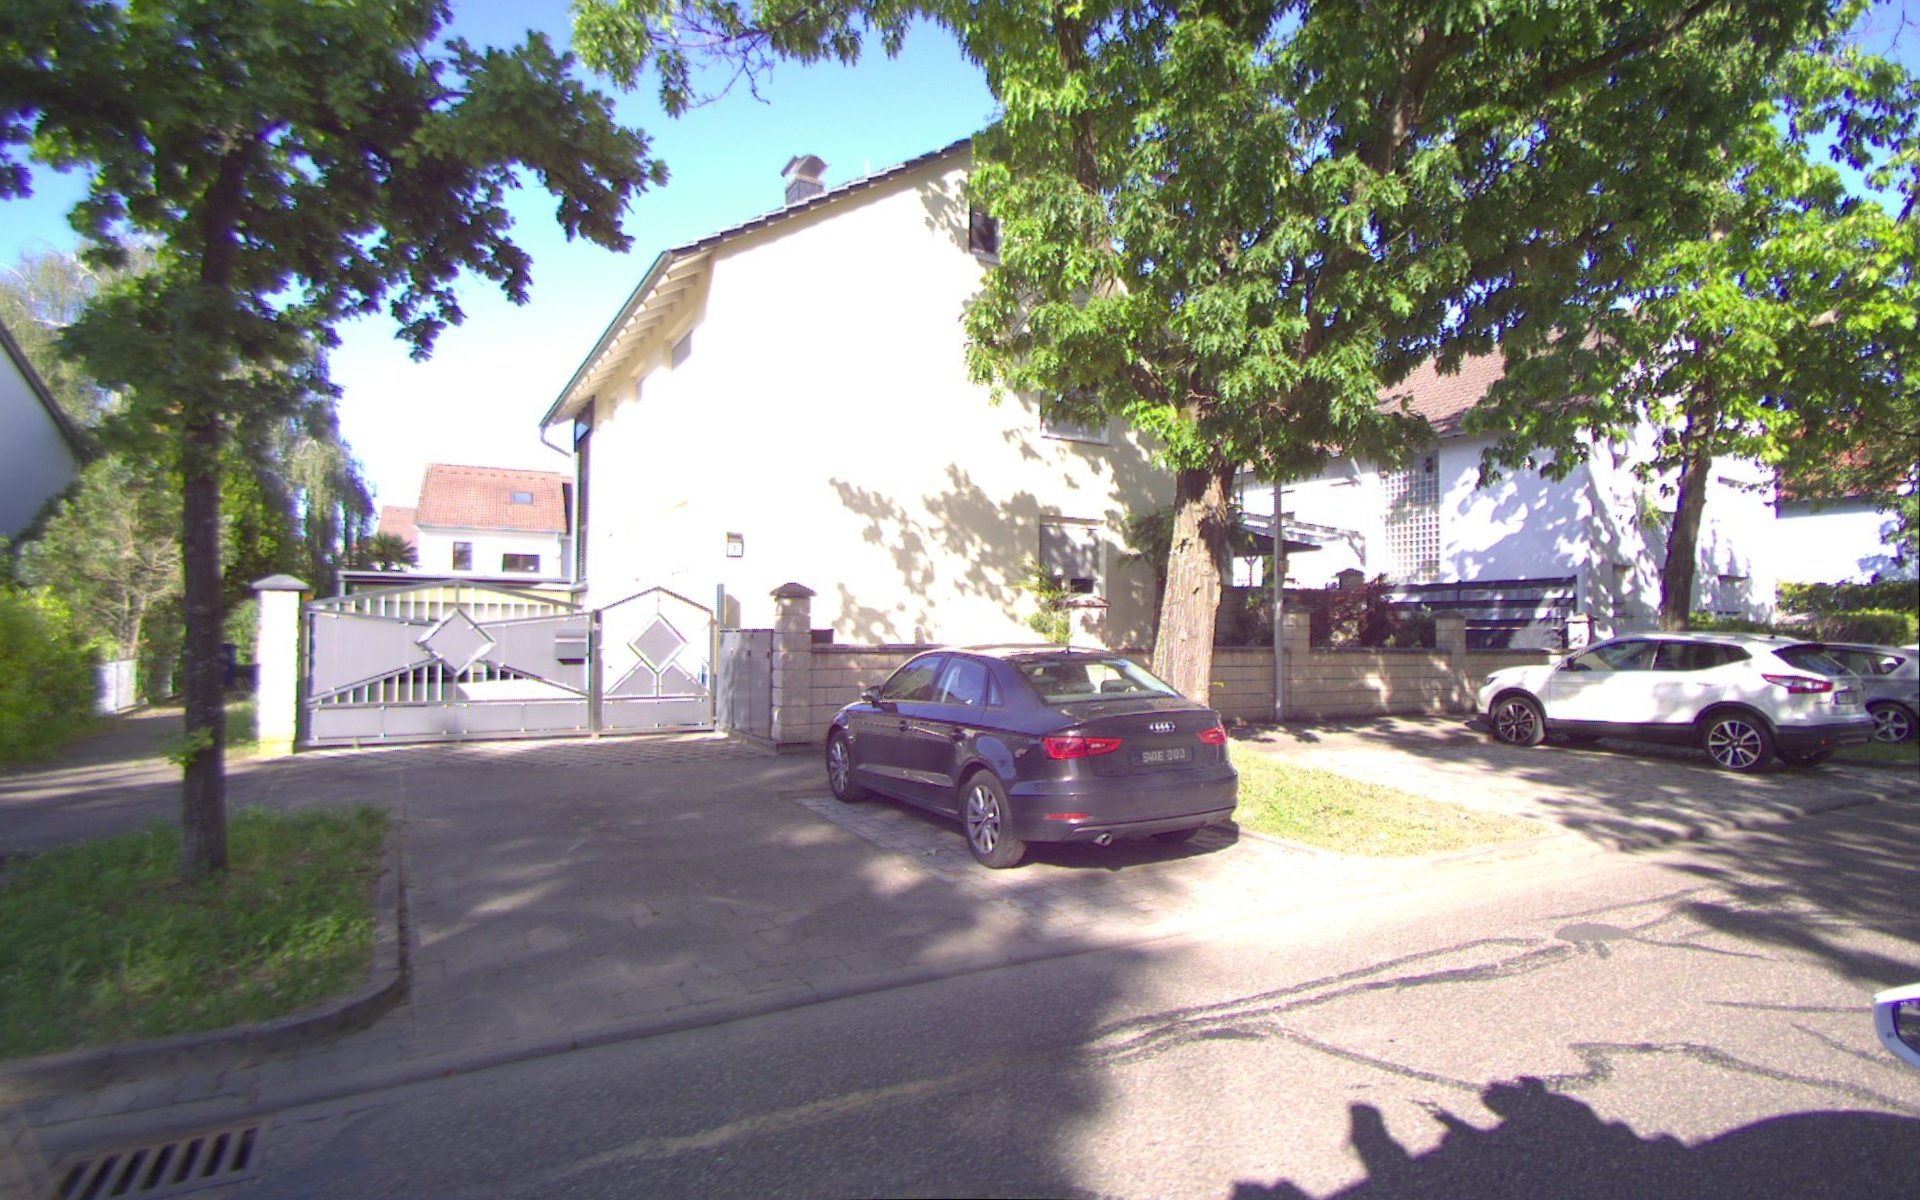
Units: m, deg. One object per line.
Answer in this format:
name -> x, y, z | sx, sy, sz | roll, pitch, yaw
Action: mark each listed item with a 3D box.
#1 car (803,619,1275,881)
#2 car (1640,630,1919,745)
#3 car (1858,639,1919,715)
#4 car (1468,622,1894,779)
car -> 0.307, 0.927, 7.979 | 1.671, 1.491, 4.191 | 2, -2, -30
car -> 13.496, 1.316, 15.998 | 1.790, 1.442, 4.012 | 2, 0, -31
car -> 21.832, 1.675, 21.192 | 1.836, 1.616, 3.968 | 3, -3, -30
car -> 9.125, 1.151, 13.128 | 1.770, 1.588, 4.170 | 2, 0, -28
